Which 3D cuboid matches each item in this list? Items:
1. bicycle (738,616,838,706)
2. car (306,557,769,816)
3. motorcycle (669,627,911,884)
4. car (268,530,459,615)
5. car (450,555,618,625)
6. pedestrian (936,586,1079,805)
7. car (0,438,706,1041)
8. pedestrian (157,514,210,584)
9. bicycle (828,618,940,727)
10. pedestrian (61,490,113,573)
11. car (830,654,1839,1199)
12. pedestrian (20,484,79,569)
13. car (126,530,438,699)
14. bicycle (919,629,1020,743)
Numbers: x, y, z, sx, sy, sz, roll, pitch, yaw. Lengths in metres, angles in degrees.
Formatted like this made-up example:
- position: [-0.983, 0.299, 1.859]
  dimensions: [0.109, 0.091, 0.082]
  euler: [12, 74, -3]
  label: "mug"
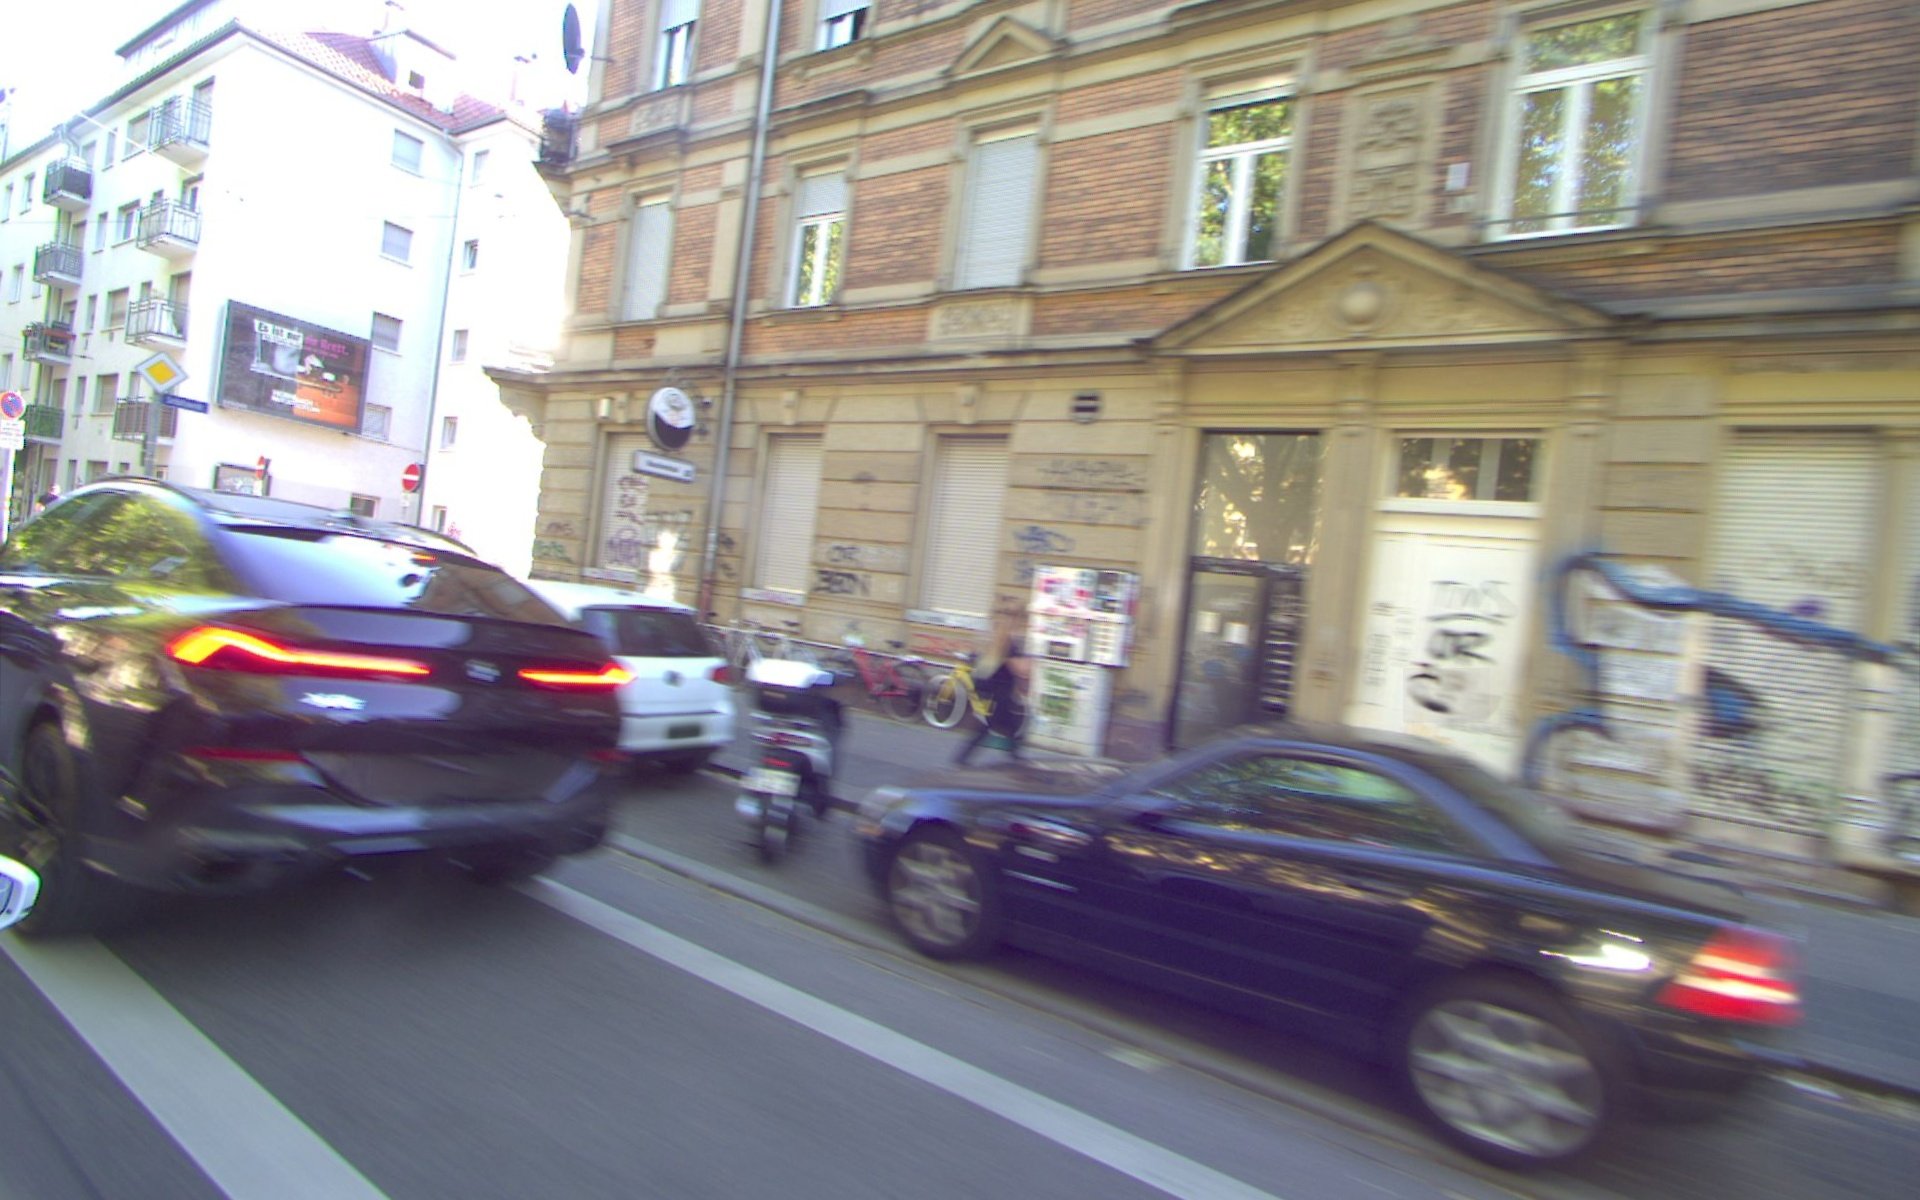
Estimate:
- position: [-2.303, 0.801, 13.394]
  dimensions: [1.351, 1.013, 0.378]
  euler: [7, 0, 37]
  label: "bicycle"
- position: [-3.607, 0.557, 8.309]
  dimensions: [3.950, 1.439, 1.602]
  euler: [6, 1, 35]
  label: "car"
- position: [-0.981, 0.891, 6.498]
  dimensions: [0.631, 1.304, 2.143]
  euler: [7, -1, 13]
  label: "motorcycle"
- position: [-14.946, -0.658, 25.340]
  dimensions: [1.765, 1.592, 3.647]
  euler: [6, -1, 40]
  label: "car"
- position: [-12.188, -0.243, 28.972]
  dimensions: [1.762, 1.472, 4.027]
  euler: [6, -1, 36]
  label: "car"
- position: [0.405, 0.785, 8.446]
  dimensions: [0.754, 1.677, 0.715]
  euler: [7, 0, 34]
  label: "pedestrian"
- position: [-3.607, 0.280, 4.999]
  dimensions: [4.558, 1.724, 1.945]
  euler: [7, -1, 36]
  label: "car"
- position: [-19.377, -1.276, 25.103]
  dimensions: [0.919, 1.598, 0.632]
  euler: [6, -2, 37]
  label: "pedestrian"
- position: [-0.962, 0.884, 12.478]
  dimensions: [1.351, 1.168, 0.378]
  euler: [7, 0, 37]
  label: "bicycle"
- position: [-20.790, -1.632, 23.948]
  dimensions: [1.065, 1.846, 0.624]
  euler: [6, 1, 37]
  label: "pedestrian"
- position: [1.374, 1.113, 4.582]
  dimensions: [3.665, 1.289, 1.649]
  euler: [6, 1, 35]
  label: "car"
- position: [-21.179, -1.711, 23.398]
  dimensions: [1.065, 1.846, 0.709]
  euler: [6, 1, 37]
  label: "pedestrian"
- position: [-7.789, 0.106, 11.436]
  dimensions: [3.997, 1.439, 1.648]
  euler: [6, 1, 37]
  label: "car"
- position: [0.099, 0.989, 11.776]
  dimensions: [1.122, 1.168, 0.273]
  euler: [7, 0, 37]
  label: "bicycle"
